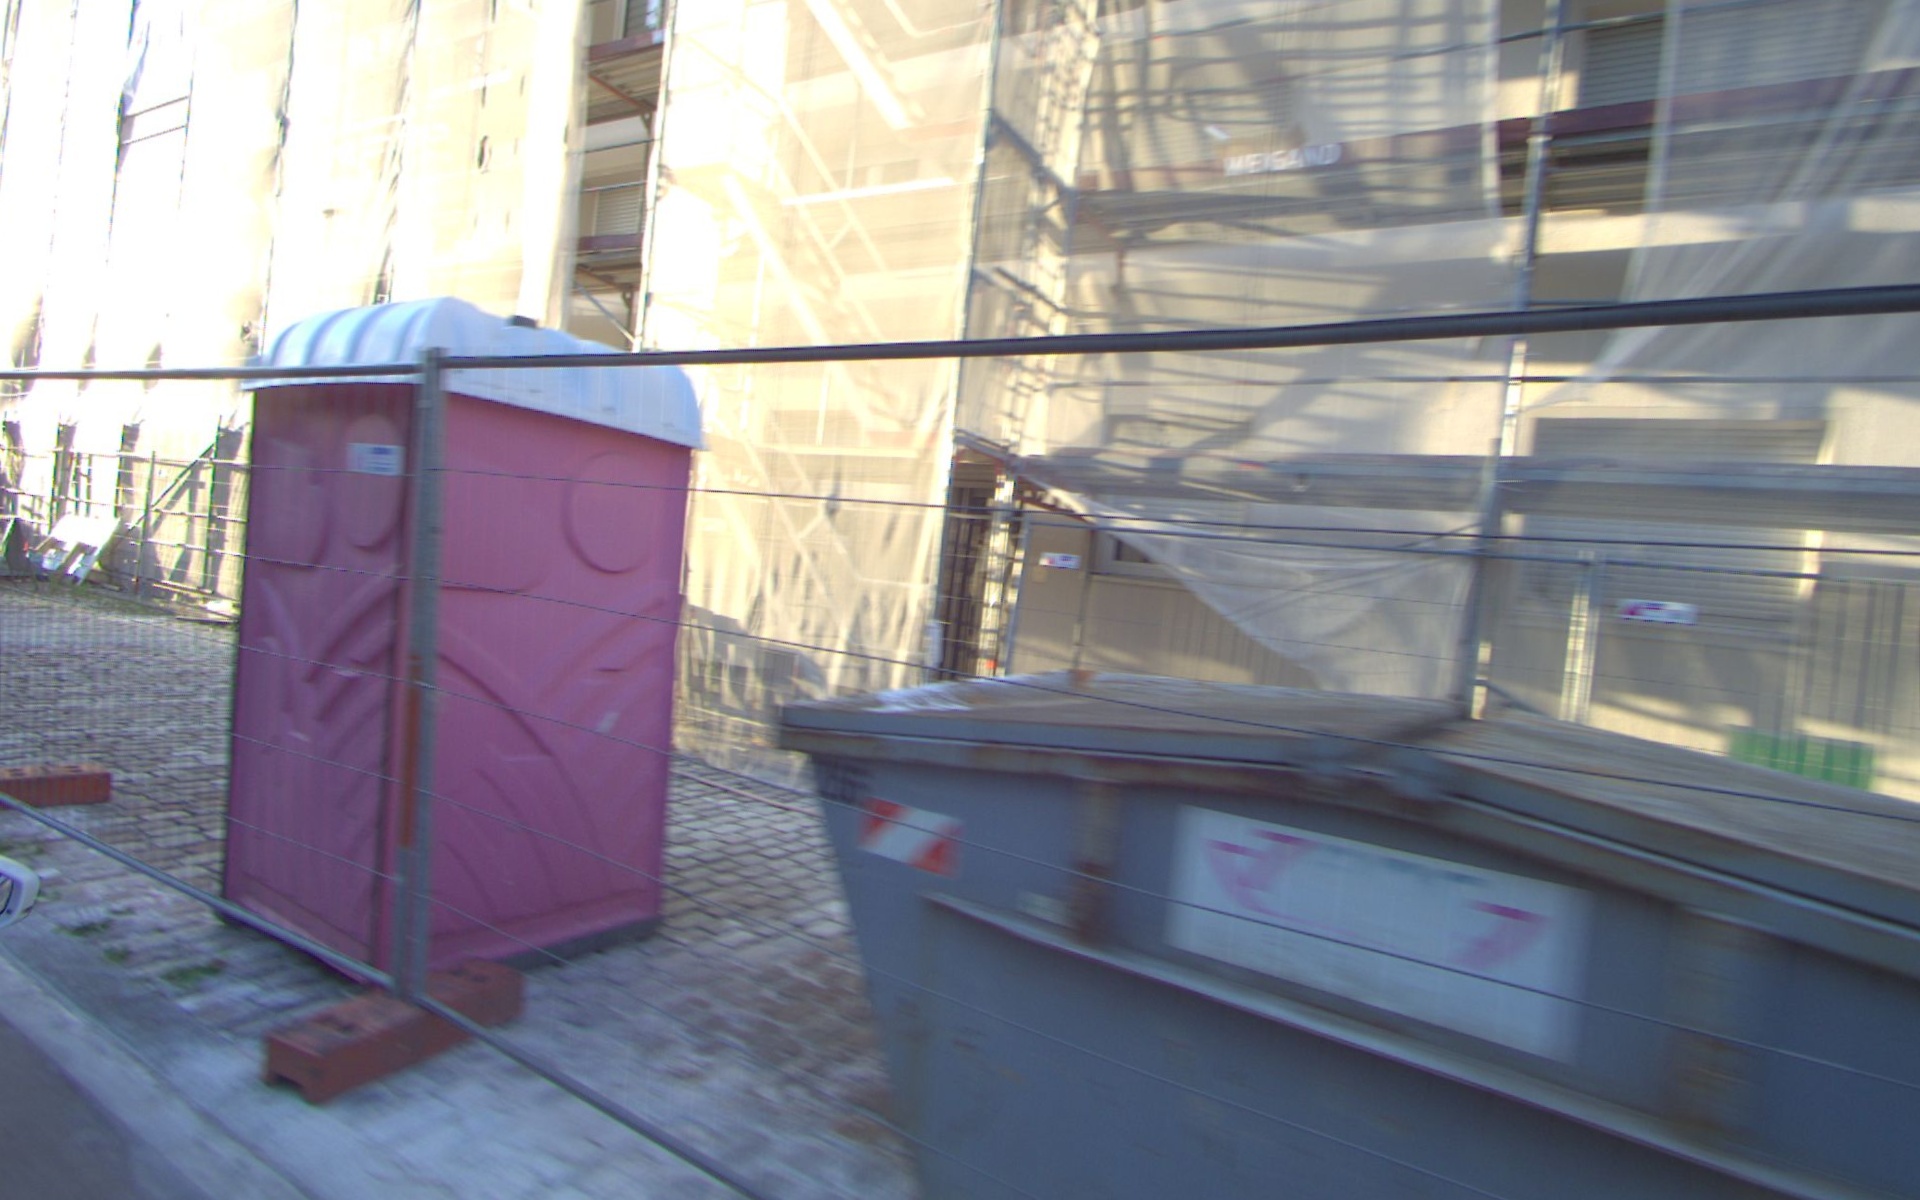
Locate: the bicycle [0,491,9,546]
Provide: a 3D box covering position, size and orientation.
[{"bbox_3d":[-21.838,-1.894,22.085,1.998,1.183,0.632,7,0,25],"label":"bicycle"}]
